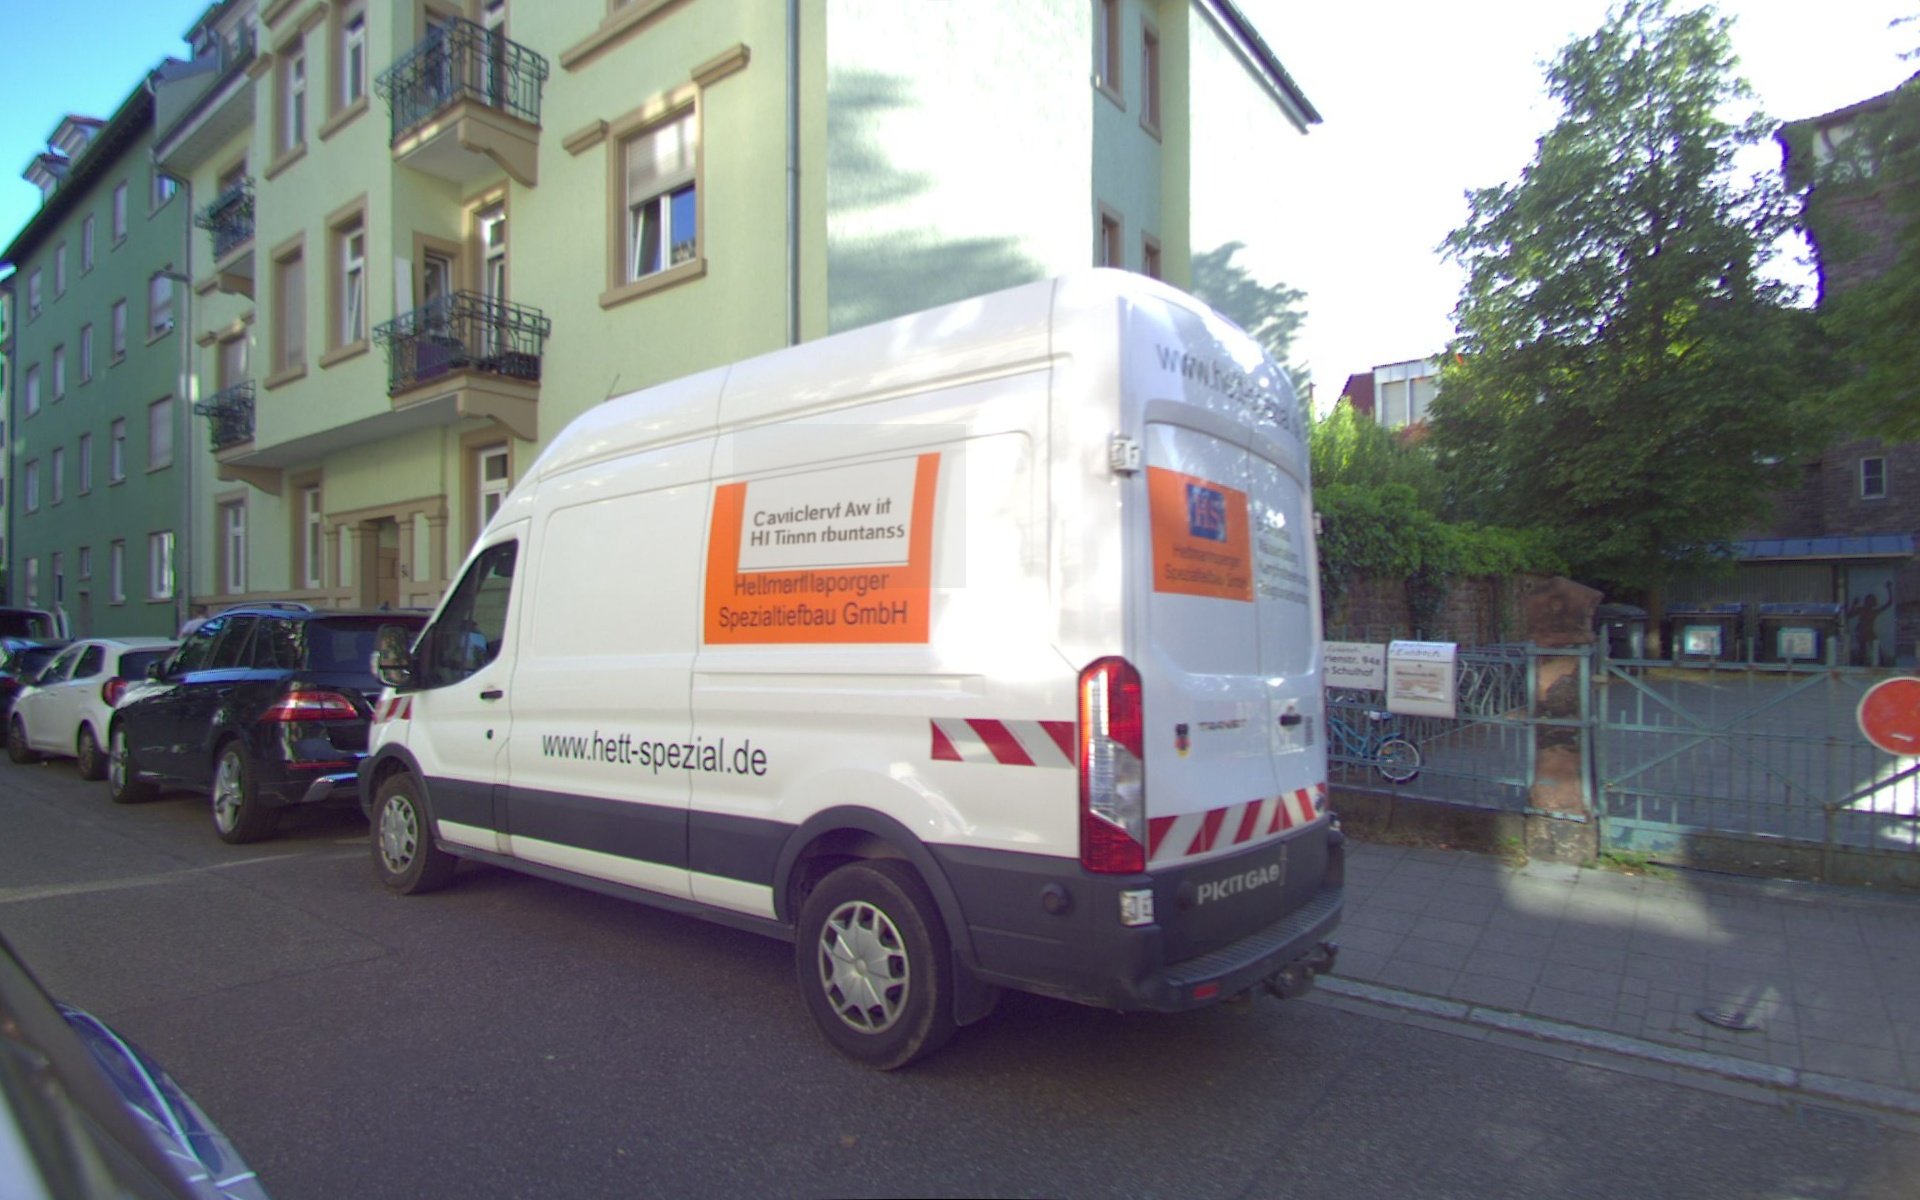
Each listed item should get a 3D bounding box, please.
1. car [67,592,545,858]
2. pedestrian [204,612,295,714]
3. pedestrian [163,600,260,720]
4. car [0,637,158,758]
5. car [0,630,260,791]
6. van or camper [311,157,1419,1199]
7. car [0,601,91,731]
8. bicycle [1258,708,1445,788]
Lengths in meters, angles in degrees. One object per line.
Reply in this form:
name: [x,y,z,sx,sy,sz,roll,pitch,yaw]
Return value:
car: [-5.836,0.913,8.767,4.961,1.698,1.858,-2,-4,37]
pedestrian: [-12.405,1.067,17.669,1.241,1.688,0.983,-2,-1,37]
pedestrian: [-12.307,0.955,16.645,1.241,1.875,0.983,-2,-1,37]
car: [-13.558,1.318,14.810,4.818,1.533,1.749,-2,-3,38]
car: [-9.889,1.142,11.794,4.082,1.564,1.620,-1,-3,37]
van or camper: [-0.990,0.323,5.291,5.842,2.790,2.108,-2,-4,38]
car: [-18.274,1.172,18.602,5.232,2.185,2.231,-1,-4,36]
bicycle: [3.329,1.245,8.679,1.431,0.545,0.401,-2,-1,39]
